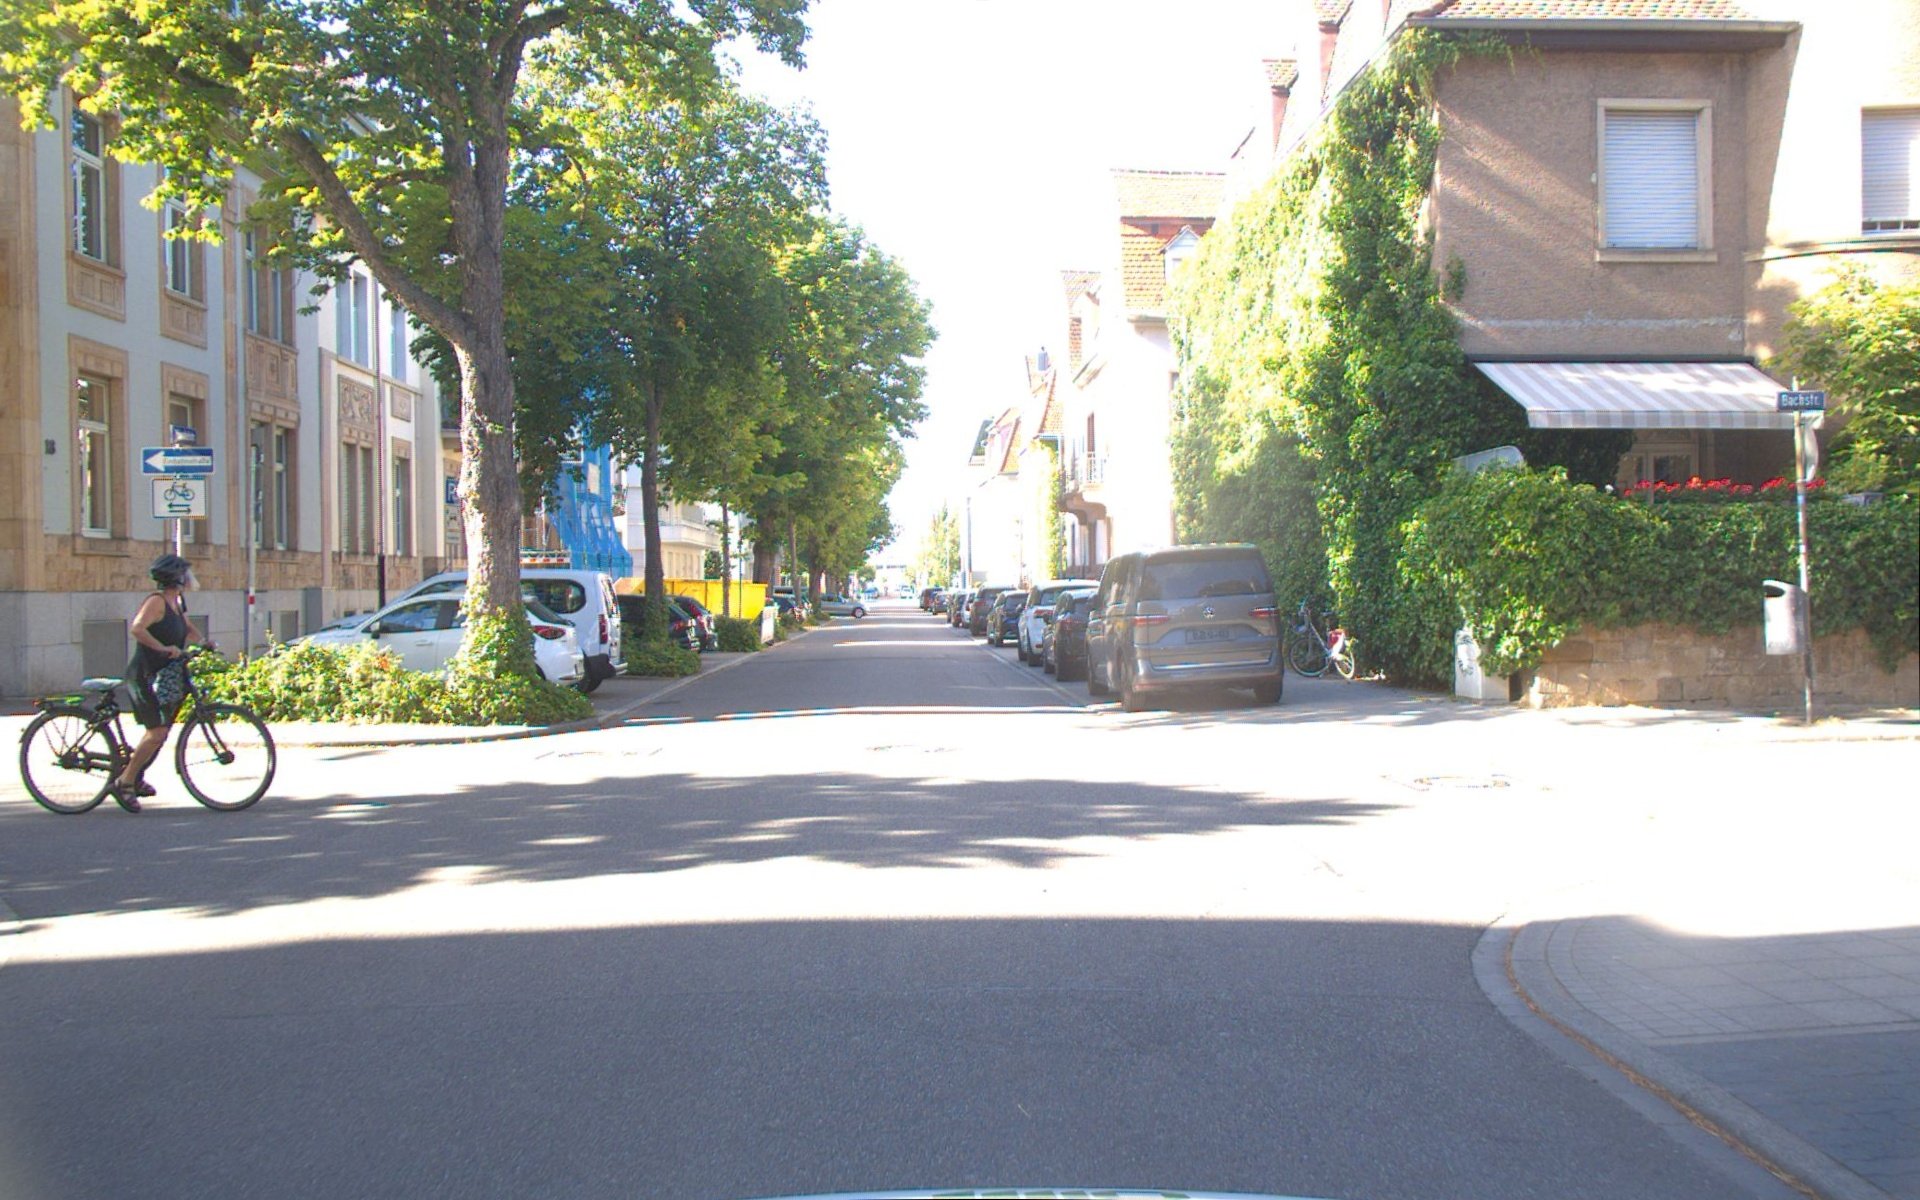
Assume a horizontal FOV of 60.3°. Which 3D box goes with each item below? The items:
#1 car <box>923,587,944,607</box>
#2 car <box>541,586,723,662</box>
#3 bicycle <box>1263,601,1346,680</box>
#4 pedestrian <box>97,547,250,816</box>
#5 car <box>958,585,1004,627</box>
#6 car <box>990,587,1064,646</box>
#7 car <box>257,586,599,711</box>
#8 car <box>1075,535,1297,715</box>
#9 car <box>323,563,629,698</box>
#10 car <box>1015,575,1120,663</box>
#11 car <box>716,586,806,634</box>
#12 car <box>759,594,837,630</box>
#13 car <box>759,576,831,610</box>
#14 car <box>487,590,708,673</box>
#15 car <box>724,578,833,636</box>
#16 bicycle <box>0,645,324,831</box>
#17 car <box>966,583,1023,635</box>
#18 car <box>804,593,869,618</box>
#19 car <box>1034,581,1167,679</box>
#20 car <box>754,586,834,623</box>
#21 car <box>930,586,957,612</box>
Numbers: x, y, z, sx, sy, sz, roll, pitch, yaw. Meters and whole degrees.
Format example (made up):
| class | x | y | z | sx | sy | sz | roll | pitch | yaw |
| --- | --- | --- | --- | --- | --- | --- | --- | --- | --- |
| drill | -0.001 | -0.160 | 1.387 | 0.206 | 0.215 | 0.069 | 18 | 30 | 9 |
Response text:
| class | x | y | z | sx | sy | sz | roll | pitch | yaw |
| --- | --- | --- | --- | --- | --- | --- | --- | --- | --- |
| car | -2.249 | -0.267 | 138.564 | 1.735 | 1.659 | 3.865 | -1 | 1 | -1 |
| car | -7.399 | 0.518 | 37.540 | 3.915 | 1.579 | 1.833 | -1 | 1 | -11 |
| bicycle | 4.869 | 0.545 | 23.529 | 0.576 | 1.041 | 2.369 | -1 | 0 | -2 |
| pedestrian | -5.255 | 0.524 | 11.080 | 0.617 | 1.724 | 0.652 | -3 | 1 | 1 |
| car | 0.855 | 0.224 | 68.034 | 1.735 | 1.659 | 3.865 | -1 | 1 | -1 |
| car | 1.760 | 0.398 | 44.428 | 1.735 | 1.480 | 3.865 | -1 | 1 | -1 |
| car | -6.813 | 0.616 | 21.556 | 3.910 | 1.490 | 1.795 | 1 | -1 | -7 |
| car | 2.714 | 0.250 | 20.970 | 1.867 | 1.903 | 4.671 | -4 | 1 | -3 |
| car | -6.849 | 0.429 | 23.757 | 3.910 | 1.791 | 1.795 | 1 | 0 | -7 |
| car | 2.106 | 0.336 | 33.254 | 1.753 | 1.646 | 3.865 | -1 | 1 | -1 |
| car | -8.991 | 0.419 | 74.547 | 3.915 | 2.049 | 1.995 | -1 | 0 | -11 |
| car | -8.627 | 0.641 | 88.374 | 3.924 | 1.765 | 1.894 | 1 | 1 | -1 |
| car | -9.460 | -0.407 | 95.006 | 3.924 | 1.873 | 2.000 | 1 | 1 | -1 |
| car | -7.072 | 0.593 | 32.549 | 3.906 | 1.495 | 1.863 | -1 | 1 | -1 |
| car | -6.802 | 0.261 | 61.802 | 3.915 | 2.049 | 1.995 | -1 | 0 | -11 |
| bicycle | -5.408 | 0.907 | 11.084 | 1.949 | 1.084 | 0.760 | -2 | 1 | 1 |
| car | 1.127 | 0.274 | 55.629 | 1.735 | 1.659 | 3.865 | -1 | 1 | -1 |
| car | -7.520 | 0.326 | 100.644 | 3.909 | 1.434 | 1.700 | -1 | 1 | -5 |
| car | 2.285 | 0.445 | 27.763 | 1.657 | 1.422 | 3.803 | -4 | 1 | -3 |
| car | -8.603 | 0.213 | 85.872 | 3.924 | 1.765 | 1.894 | 1 | 1 | -1 |
| car | -1.098 | -0.094 | 110.075 | 1.735 | 1.659 | 3.865 | -1 | 1 | -1 |
